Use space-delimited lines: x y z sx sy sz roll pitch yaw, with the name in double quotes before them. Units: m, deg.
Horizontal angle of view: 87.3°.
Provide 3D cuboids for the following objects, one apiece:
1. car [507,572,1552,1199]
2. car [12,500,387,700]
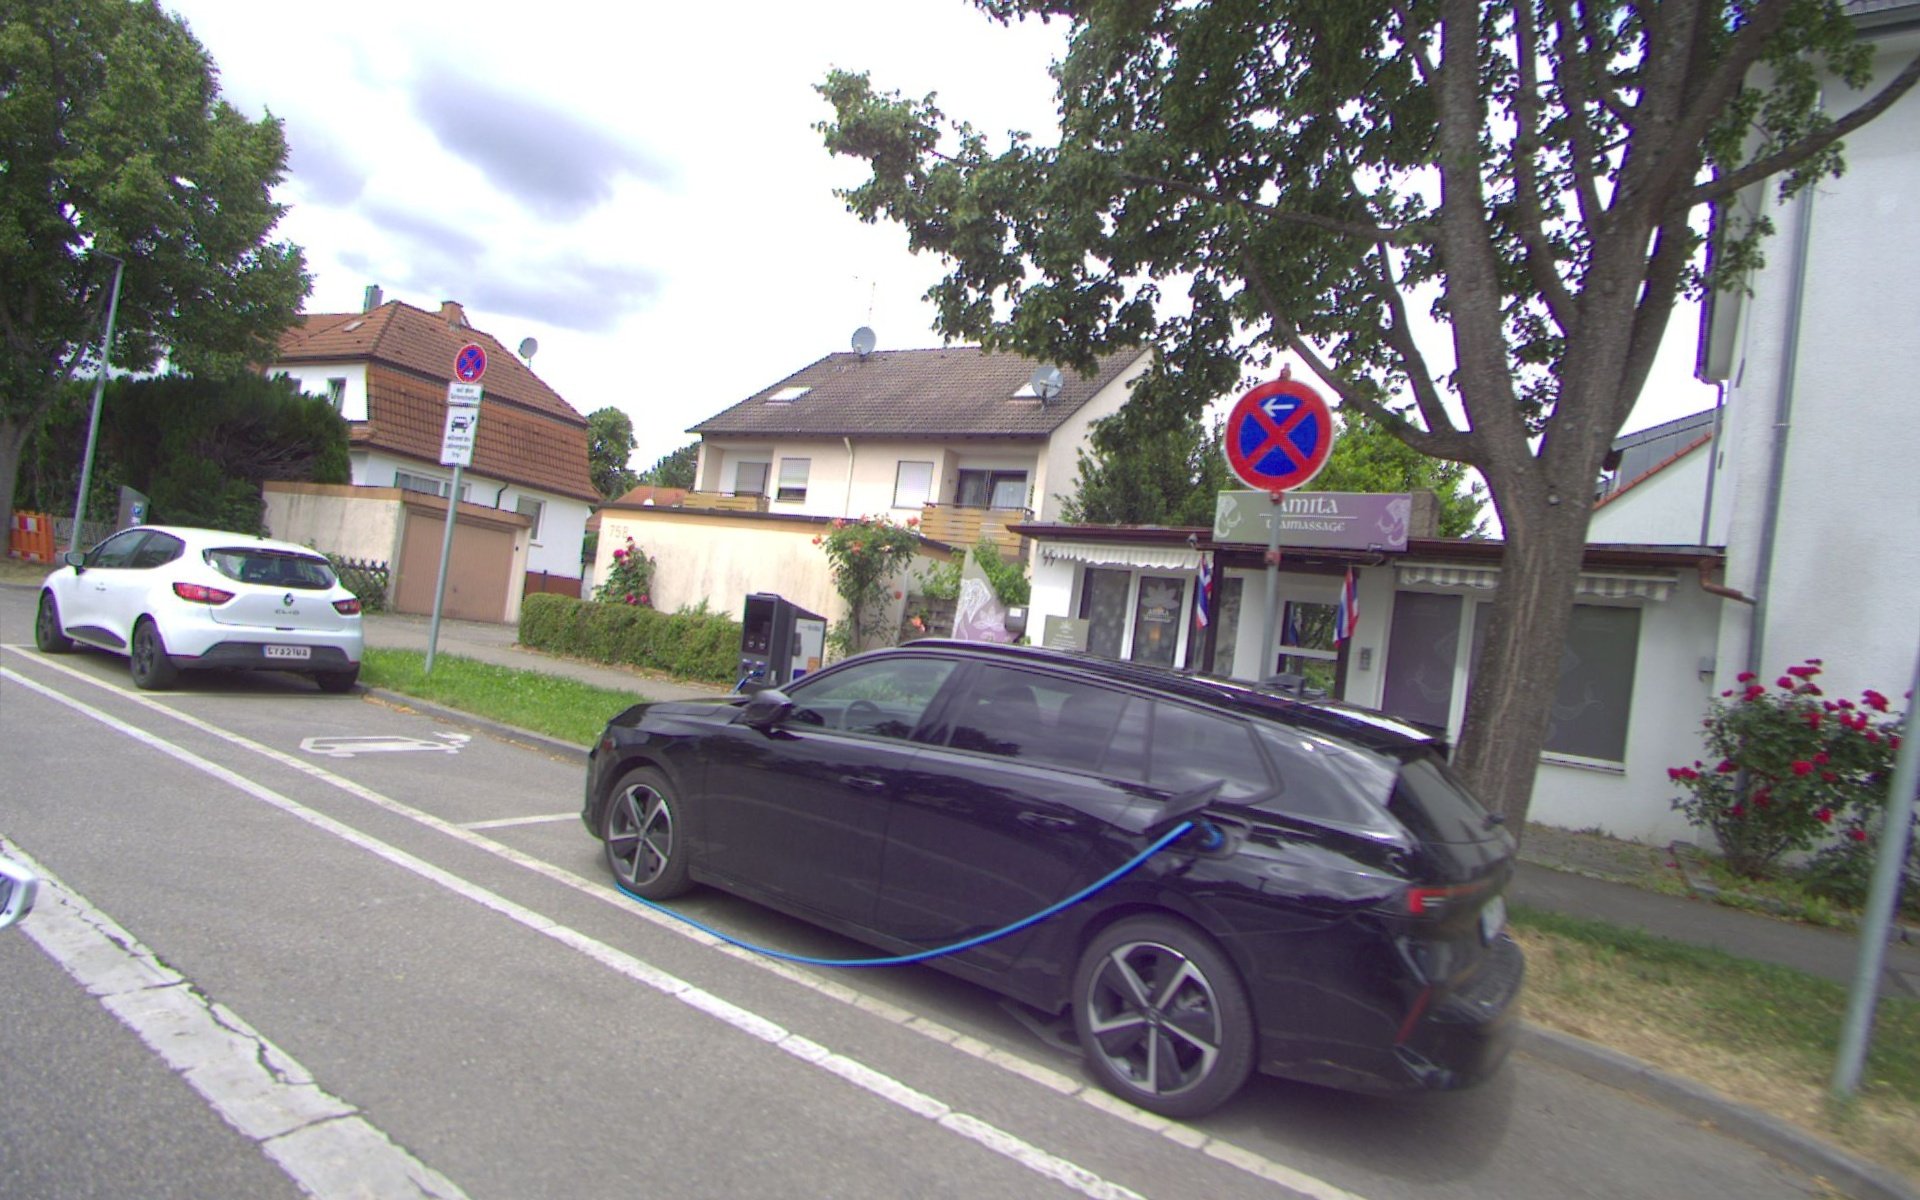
"car" 0.026 0.881 4.730 4.543 1.472 1.707 7 -1 35
"car" -7.769 -0.037 10.186 3.935 1.479 1.675 7 -1 33
